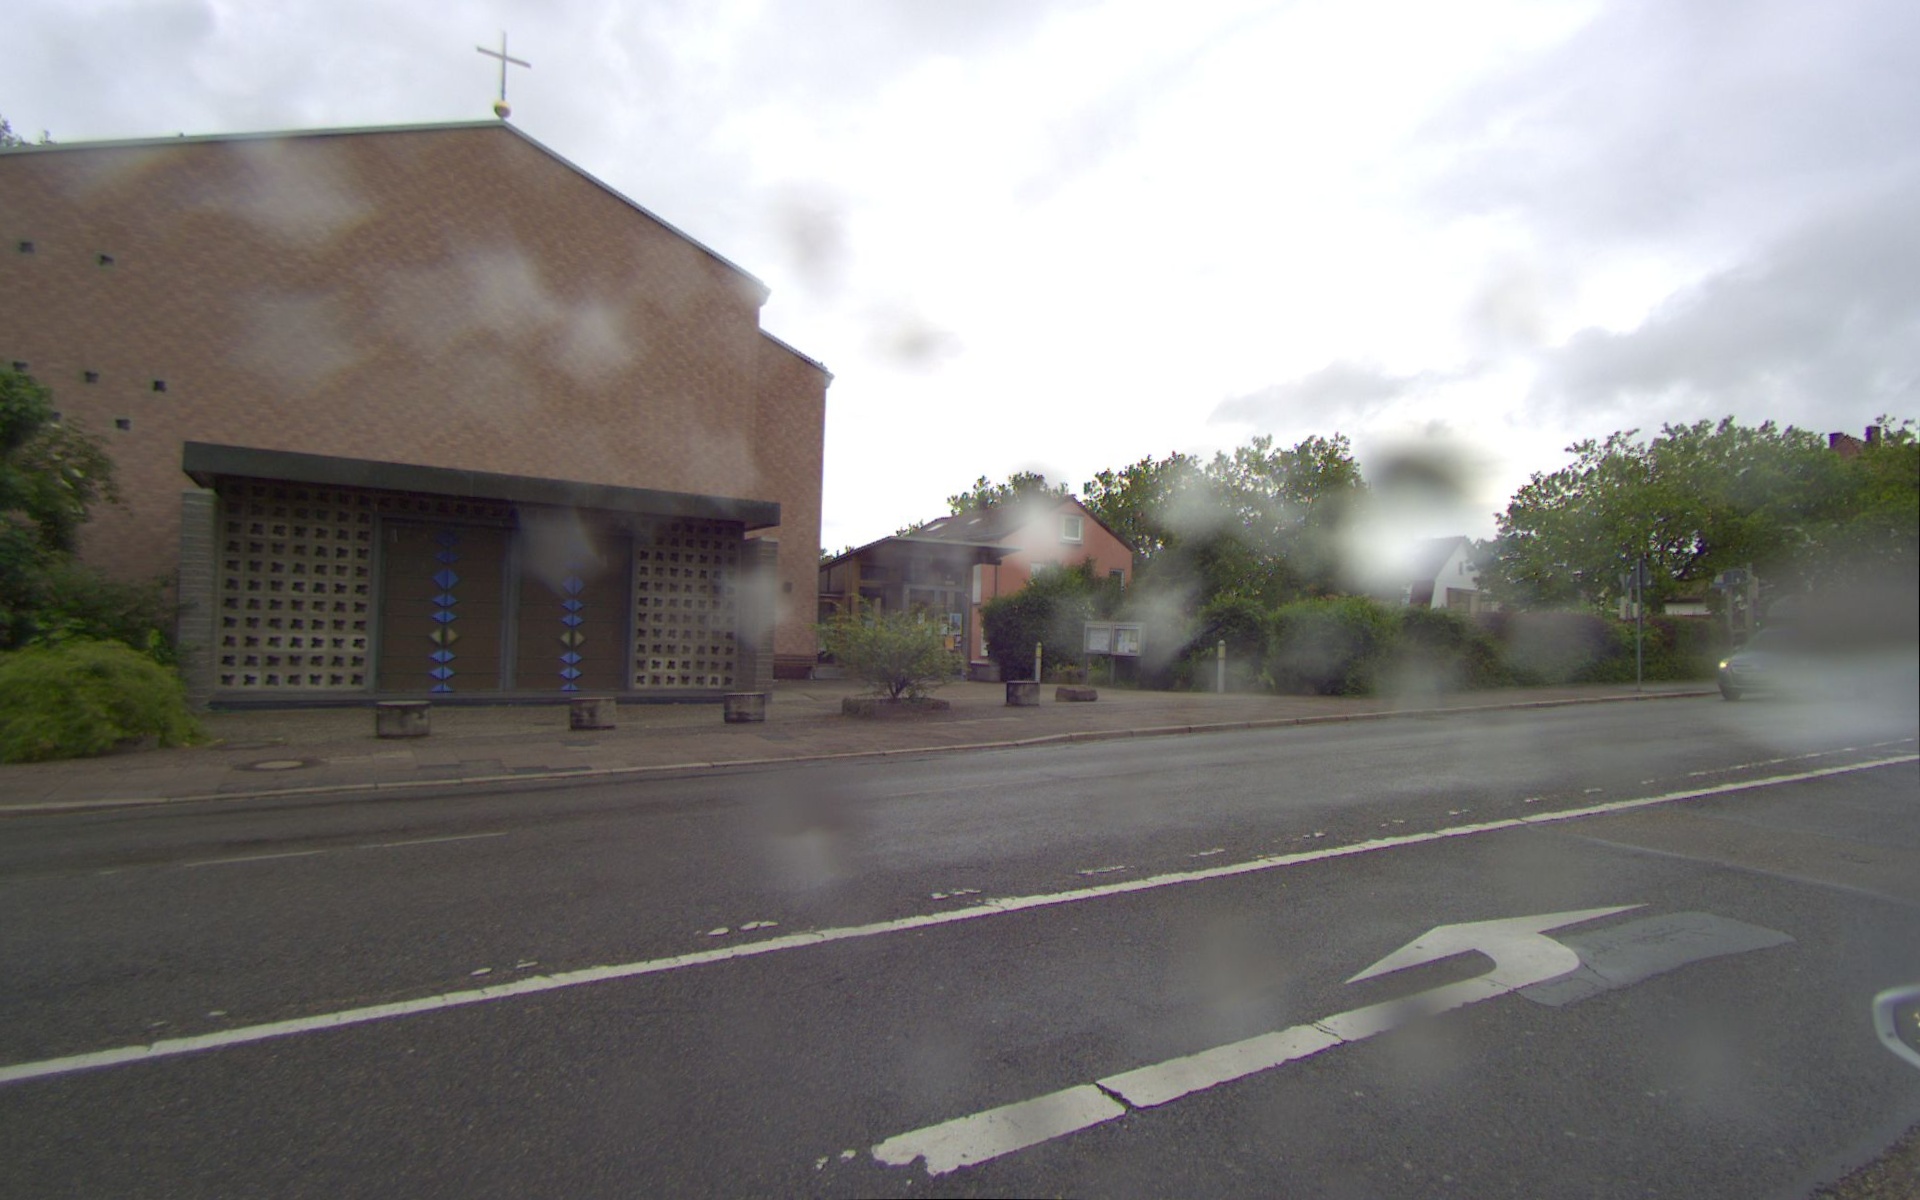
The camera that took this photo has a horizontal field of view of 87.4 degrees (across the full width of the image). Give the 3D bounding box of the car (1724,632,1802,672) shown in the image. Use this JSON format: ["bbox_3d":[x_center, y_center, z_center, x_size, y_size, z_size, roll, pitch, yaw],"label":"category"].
[{"bbox_3d":[39.302,2.517,49.146,3.955,1.573,1.798,-3,2,-32],"label":"car"}]

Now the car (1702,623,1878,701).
[{"bbox_3d":[18.834,1.355,22.748,4.271,1.611,1.897,1,-2,-33],"label":"car"}]
